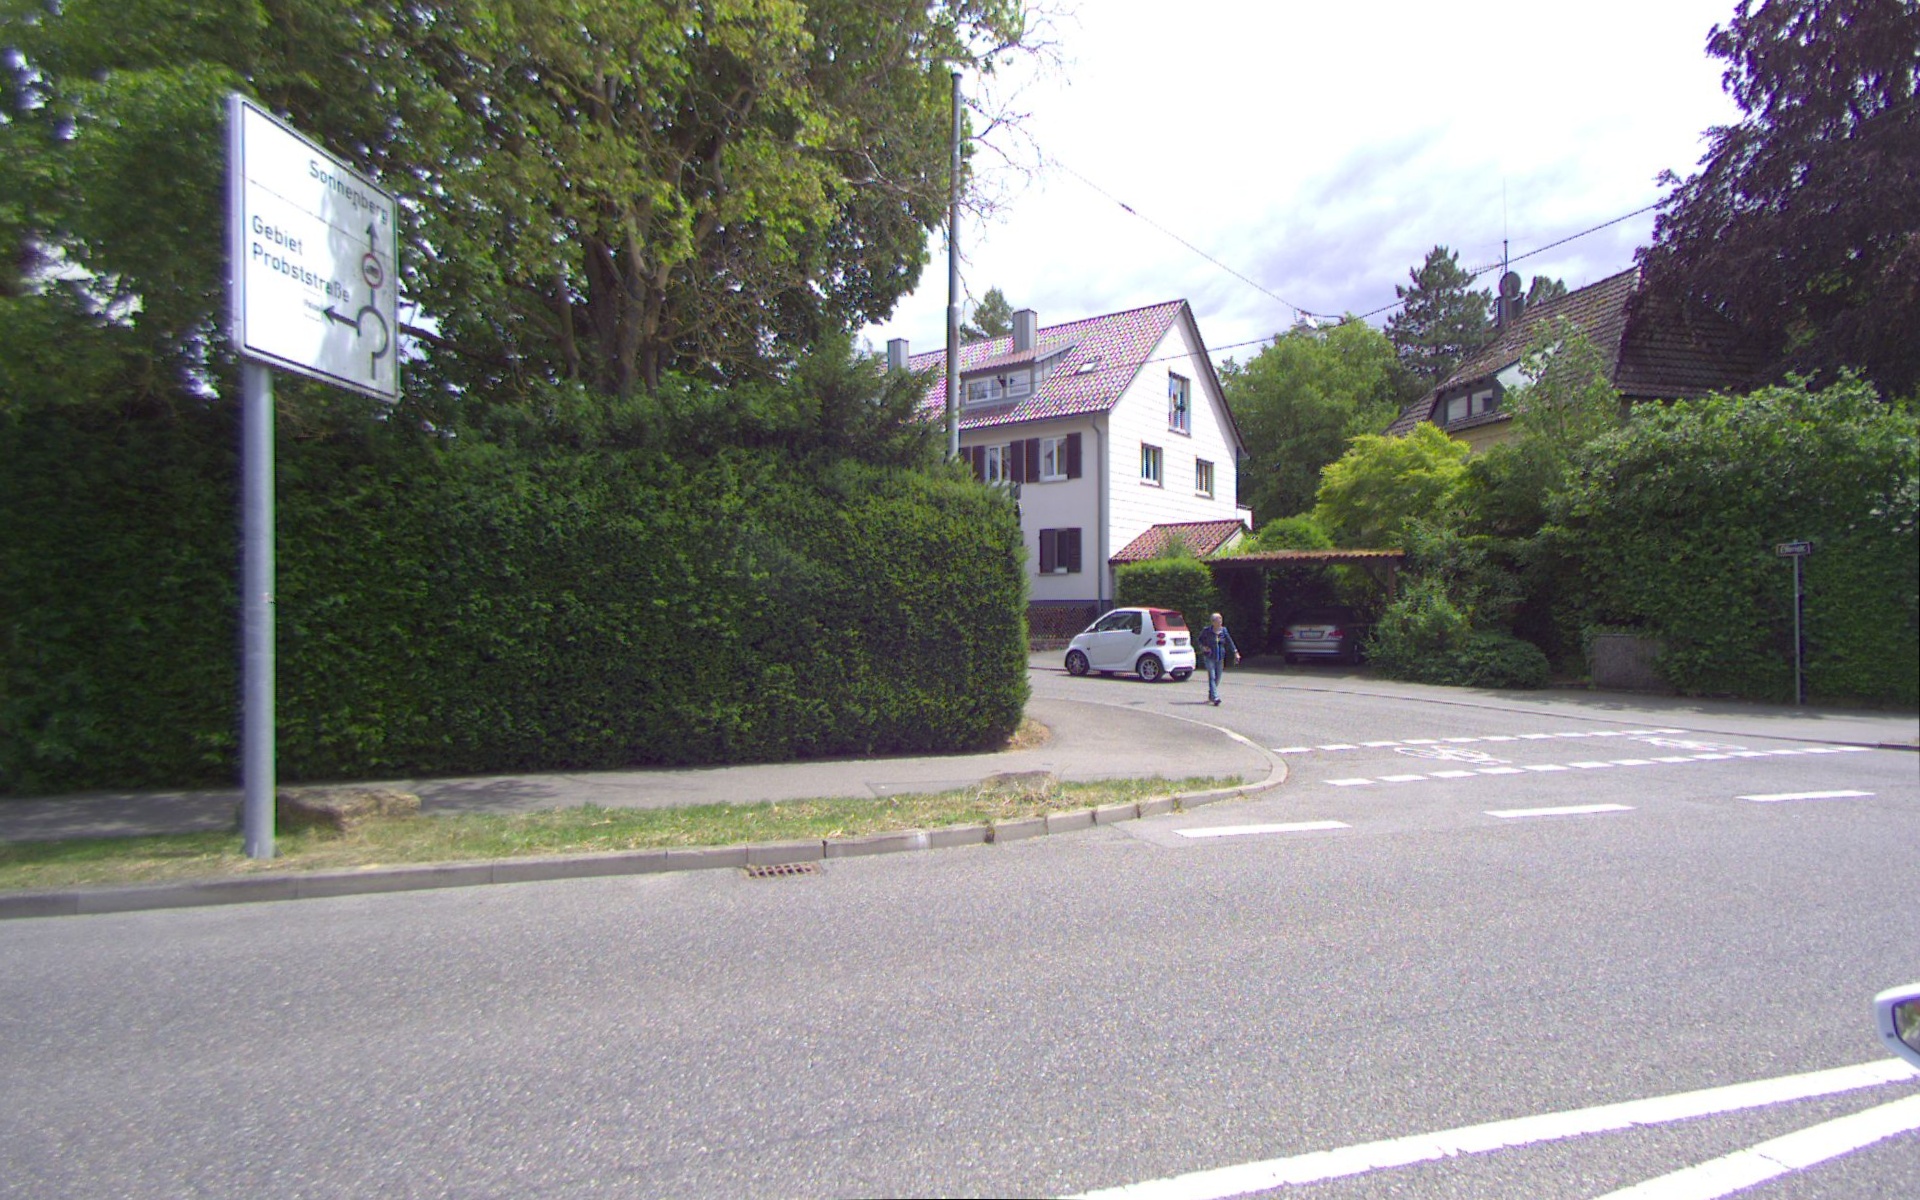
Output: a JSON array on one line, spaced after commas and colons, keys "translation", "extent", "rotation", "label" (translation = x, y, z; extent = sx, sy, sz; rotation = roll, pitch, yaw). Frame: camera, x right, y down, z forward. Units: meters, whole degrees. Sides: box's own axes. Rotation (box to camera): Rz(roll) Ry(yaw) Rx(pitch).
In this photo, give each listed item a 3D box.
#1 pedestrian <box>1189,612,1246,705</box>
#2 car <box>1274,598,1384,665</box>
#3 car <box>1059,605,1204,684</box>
[{"translation": [4.357, 0.967, 16.983], "extent": [0.720, 1.529, 0.625], "rotation": [1, 0, 39], "label": "pedestrian"}, {"translation": [9.392, 0.740, 25.399], "extent": [1.699, 1.530, 3.988], "rotation": [1, 0, 34], "label": "car"}, {"translation": [3.765, 0.935, 22.180], "extent": [2.736, 1.576, 1.582], "rotation": [1, 0, 40], "label": "car"}]
